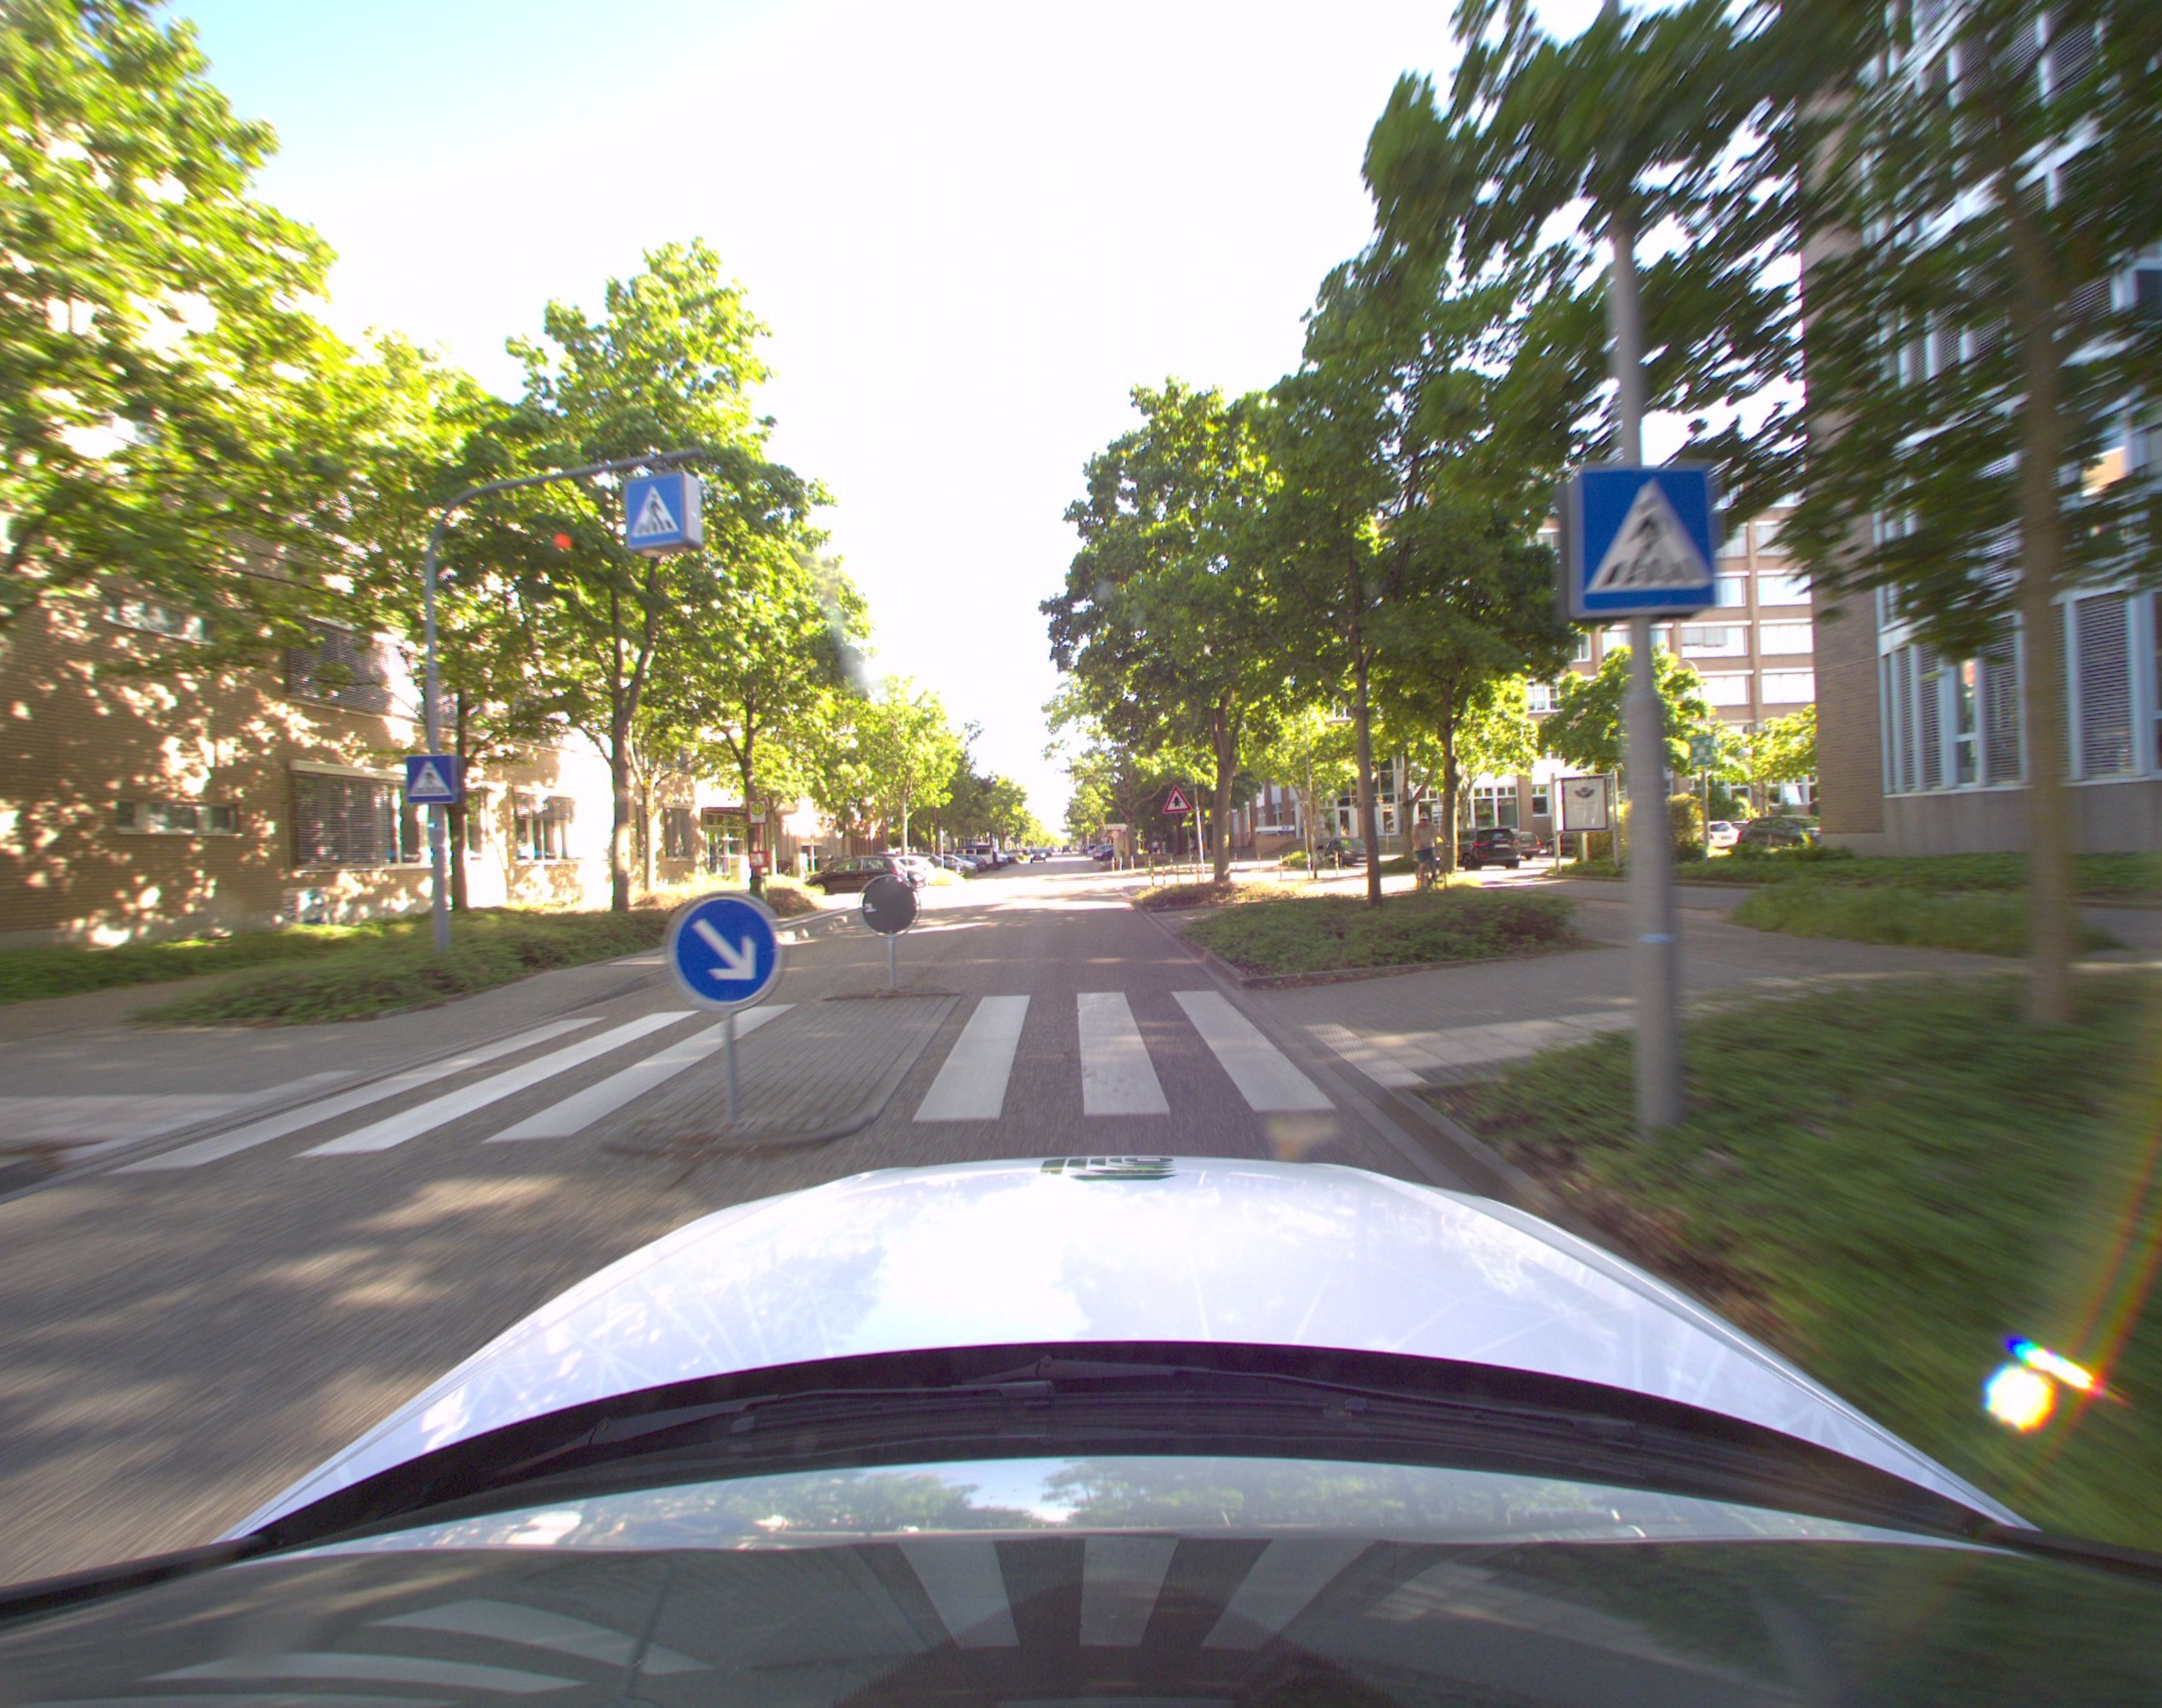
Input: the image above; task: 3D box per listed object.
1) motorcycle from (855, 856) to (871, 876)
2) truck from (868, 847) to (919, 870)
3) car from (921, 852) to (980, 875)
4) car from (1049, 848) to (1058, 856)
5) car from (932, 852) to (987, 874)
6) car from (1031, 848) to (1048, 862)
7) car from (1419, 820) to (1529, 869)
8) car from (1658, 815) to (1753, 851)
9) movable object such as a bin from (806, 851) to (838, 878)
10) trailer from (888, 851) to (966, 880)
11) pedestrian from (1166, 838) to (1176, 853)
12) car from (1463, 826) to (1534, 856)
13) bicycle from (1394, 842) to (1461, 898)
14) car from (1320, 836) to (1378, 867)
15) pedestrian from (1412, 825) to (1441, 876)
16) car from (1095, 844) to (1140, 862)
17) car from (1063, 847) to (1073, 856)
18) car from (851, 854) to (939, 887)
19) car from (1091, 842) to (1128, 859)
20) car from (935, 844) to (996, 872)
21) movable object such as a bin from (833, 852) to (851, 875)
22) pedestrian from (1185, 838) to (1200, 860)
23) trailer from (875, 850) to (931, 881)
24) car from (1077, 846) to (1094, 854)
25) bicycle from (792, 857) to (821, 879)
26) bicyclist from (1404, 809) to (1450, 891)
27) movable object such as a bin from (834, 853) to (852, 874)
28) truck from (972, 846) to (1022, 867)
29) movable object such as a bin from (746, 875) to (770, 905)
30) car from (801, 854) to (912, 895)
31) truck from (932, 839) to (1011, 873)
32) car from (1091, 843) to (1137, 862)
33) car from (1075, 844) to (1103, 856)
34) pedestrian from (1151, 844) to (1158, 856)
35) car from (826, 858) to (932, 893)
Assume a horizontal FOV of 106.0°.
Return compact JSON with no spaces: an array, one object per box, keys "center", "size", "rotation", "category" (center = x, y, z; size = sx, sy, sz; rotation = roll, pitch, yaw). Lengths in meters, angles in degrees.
[{"center":[-17.915,0.981,66.888],"size":[0.713,1.591,2.108],"rotation":[-3,0,-2],"category":"motorcycle"},{"center":[-24.974,0.555,108.787],"size":[6.090,2.704,2.575],"rotation":[-3,0,-3],"category":"truck"},{"center":[-9.159,0.658,57.319],"size":[3.820,1.461,1.733],"rotation":[-1,0,2],"category":"car"},{"center":[-6.230,-0.455,182.727],"size":[1.888,1.684,4.348],"rotation":[-3,0,-3],"category":"car"},{"center":[-8.923,0.639,60.146],"size":[3.766,1.492,1.833],"rotation":[-1,0,0],"category":"car"},{"center":[-4.678,0.085,91.889],"size":[1.774,1.511,3.998],"rotation":[-3,0,-1],"category":"car"},{"center":[14.500,-0.293,30.330],"size":[1.734,1.566,4.360],"rotation":[-2,-2,-3],"category":"car"},{"center":[33.053,-1.152,43.256],"size":[1.911,1.723,4.113],"rotation":[-3,2,0],"category":"car"},{"center":[-18.047,0.715,56.852],"size":[1.593,1.796,1.664],"rotation":[-3,0,1],"category":"movable object such as a bin"},{"center":[-8.970,0.674,47.795],"size":[4.253,1.572,1.853],"rotation":[-1,0,-5],"category":"trailer"},{"center":[10.480,-0.997,95.067],"size":[0.696,1.710,0.917],"rotation":[-6,1,-12],"category":"pedestrian"},{"center":[22.098,-0.680,43.292],"size":[1.682,1.461,4.275],"rotation":[-3,0,2],"category":"car"},{"center":[7.214,0.302,17.046],"size":[0.532,1.078,1.919],"rotation":[-3,0,0],"category":"bicycle"},{"center":[13.889,-0.166,42.467],"size":[1.647,1.462,3.916],"rotation":[-3,1,-1],"category":"car"},{"center":[11.067,-0.111,26.105],"size":[0.538,1.582,0.646],"rotation":[-3,0,-11],"category":"pedestrian"},{"center":[3.379,-0.054,75.629],"size":[3.926,1.439,1.772],"rotation":[-3,0,-4],"category":"car"},{"center":[-2.717,-0.539,169.378],"size":[1.928,1.597,4.364],"rotation":[-3,1,-1],"category":"car"},{"center":[-8.725,0.777,38.413],"size":[3.744,1.452,1.753],"rotation":[-1,1,-2],"category":"car"},{"center":[3.498,-0.449,101.424],"size":[4.394,1.618,1.910],"rotation":[-5,1,-2],"category":"car"},{"center":[-8.856,0.296,62.945],"size":[4.472,2.051,1.998],"rotation":[-1,0,-3],"category":"car"},{"center":[-18.152,0.699,61.792],"size":[1.146,1.619,1.435],"rotation":[-3,0,-13],"category":"movable object such as a bin"},{"center":[9.278,-0.438,67.868],"size":[0.919,1.710,0.694],"rotation":[-6,1,-15],"category":"pedestrian"},{"center":[-9.892,0.624,45.412],"size":[2.717,1.687,1.712],"rotation":[-1,0,-1],"category":"trailer"},{"center":[1.065,-1.069,202.953],"size":[3.982,1.792,1.996],"rotation":[-3,0,-7],"category":"car"},{"center":[-17.870,0.902,53.001],"size":[1.732,1.409,0.610],"rotation":[-1,0,-24],"category":"bicycle"},{"center":[7.199,-0.080,16.972],"size":[0.535,1.636,0.822],"rotation":[-3,0,0],"category":"bicyclist"},{"center":[-18.430,0.724,63.073],"size":[1.146,1.562,1.239],"rotation":[-3,0,-13],"category":"movable object such as a bin"},{"center":[-9.039,0.304,87.504],"size":[4.965,1.959,2.140],"rotation":[-3,0,2],"category":"truck"},{"center":[-8.054,0.892,20.316],"size":[0.440,0.731,0.408],"rotation":[-1,0,-1],"category":"movable object such as a bin"},{"center":[-8.918,0.783,32.600],"size":[3.976,1.570,1.727],"rotation":[0,0,-2],"category":"car"},{"center":[-9.090,0.132,68.196],"size":[6.214,2.421,2.186],"rotation":[-3,0,-1],"category":"truck"},{"center":[3.320,-0.140,82.651],"size":[4.349,1.597,1.934],"rotation":[-3,0,-8],"category":"car"},{"center":[1.242,-0.627,131.420],"size":[4.259,1.633,1.856],"rotation":[-4,0,-4],"category":"car"},{"center":[8.755,-0.501,97.264],"size":[0.699,1.458,0.714],"rotation":[-3,0,-4],"category":"pedestrian"},{"center":[-8.660,0.890,35.237],"size":[4.142,1.402,1.799],"rotation":[-1,0,-4],"category":"car"}]
